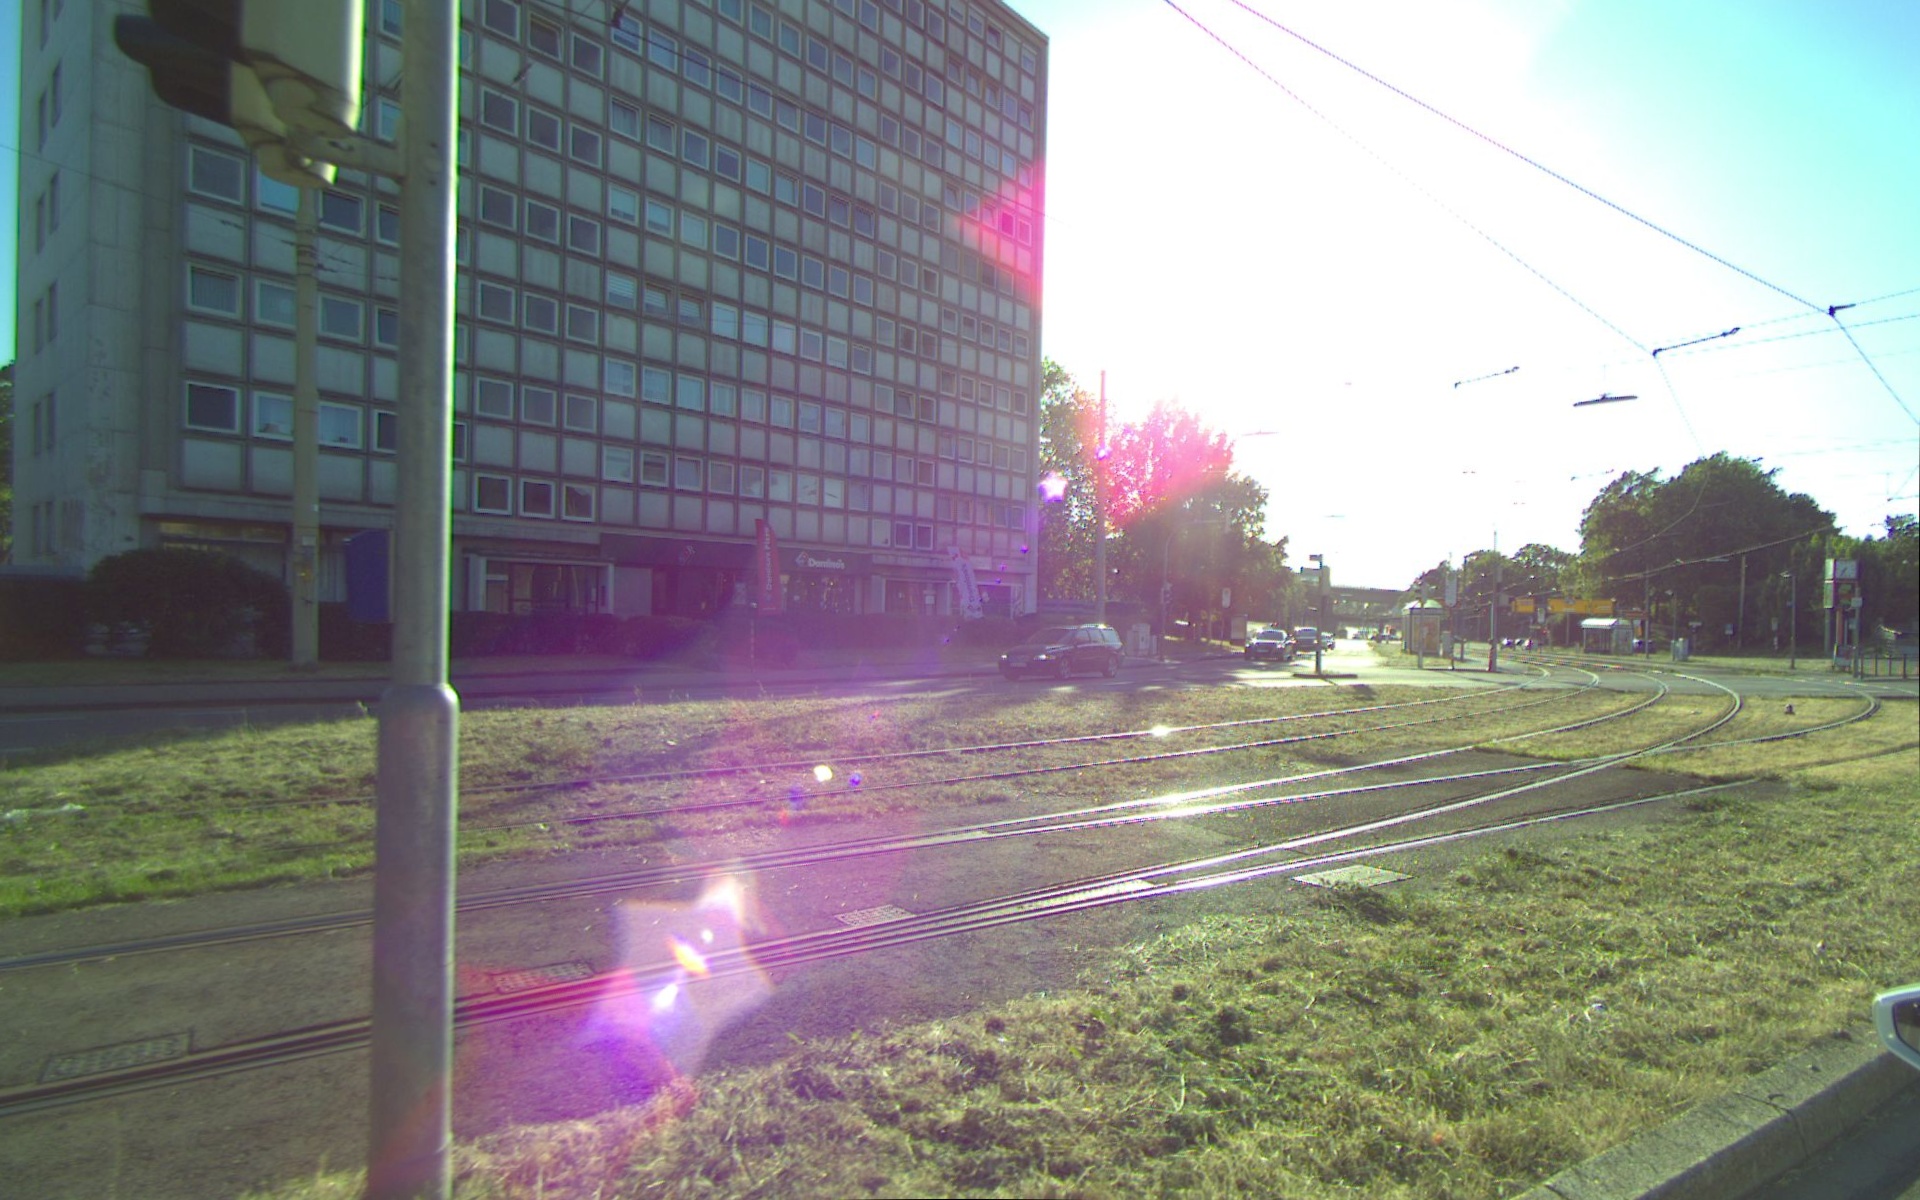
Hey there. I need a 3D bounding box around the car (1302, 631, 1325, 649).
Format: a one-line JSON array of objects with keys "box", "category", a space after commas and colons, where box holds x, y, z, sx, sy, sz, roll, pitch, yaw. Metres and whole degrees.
[{"box": [28.084, 3.135, 79.738, 1.520, 1.358, 3.593, 1, -1, 22], "category": "car"}]

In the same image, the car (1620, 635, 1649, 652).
[{"box": [62.888, 4.031, 93.657, 1.745, 1.441, 3.852, 1, -1, 26], "category": "car"}]

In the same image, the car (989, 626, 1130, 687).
[{"box": [2.780, 1.476, 27.235, 1.754, 1.501, 4.382, 0, -2, 38], "category": "car"}]

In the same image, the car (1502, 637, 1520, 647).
[{"box": [92.172, 7.014, 168.162, 2.004, 1.465, 4.000, 1, 0, 20], "category": "car"}]

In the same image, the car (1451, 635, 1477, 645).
[{"box": [111.372, 8.794, 222.145, 4.788, 2.040, 1.991, 2, 0, 39], "category": "car"}]

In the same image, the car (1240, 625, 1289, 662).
[{"box": [14.451, 2.024, 47.570, 1.625, 1.617, 4.584, 1, -1, 24], "category": "car"}]

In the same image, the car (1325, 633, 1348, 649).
[{"box": [35.330, 3.804, 94.166, 1.773, 1.385, 3.963, 1, -1, 24], "category": "car"}]

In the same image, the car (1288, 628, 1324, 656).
[{"box": [21.995, 2.645, 63.688, 1.556, 1.616, 4.148, 2, -1, 27], "category": "car"}]
